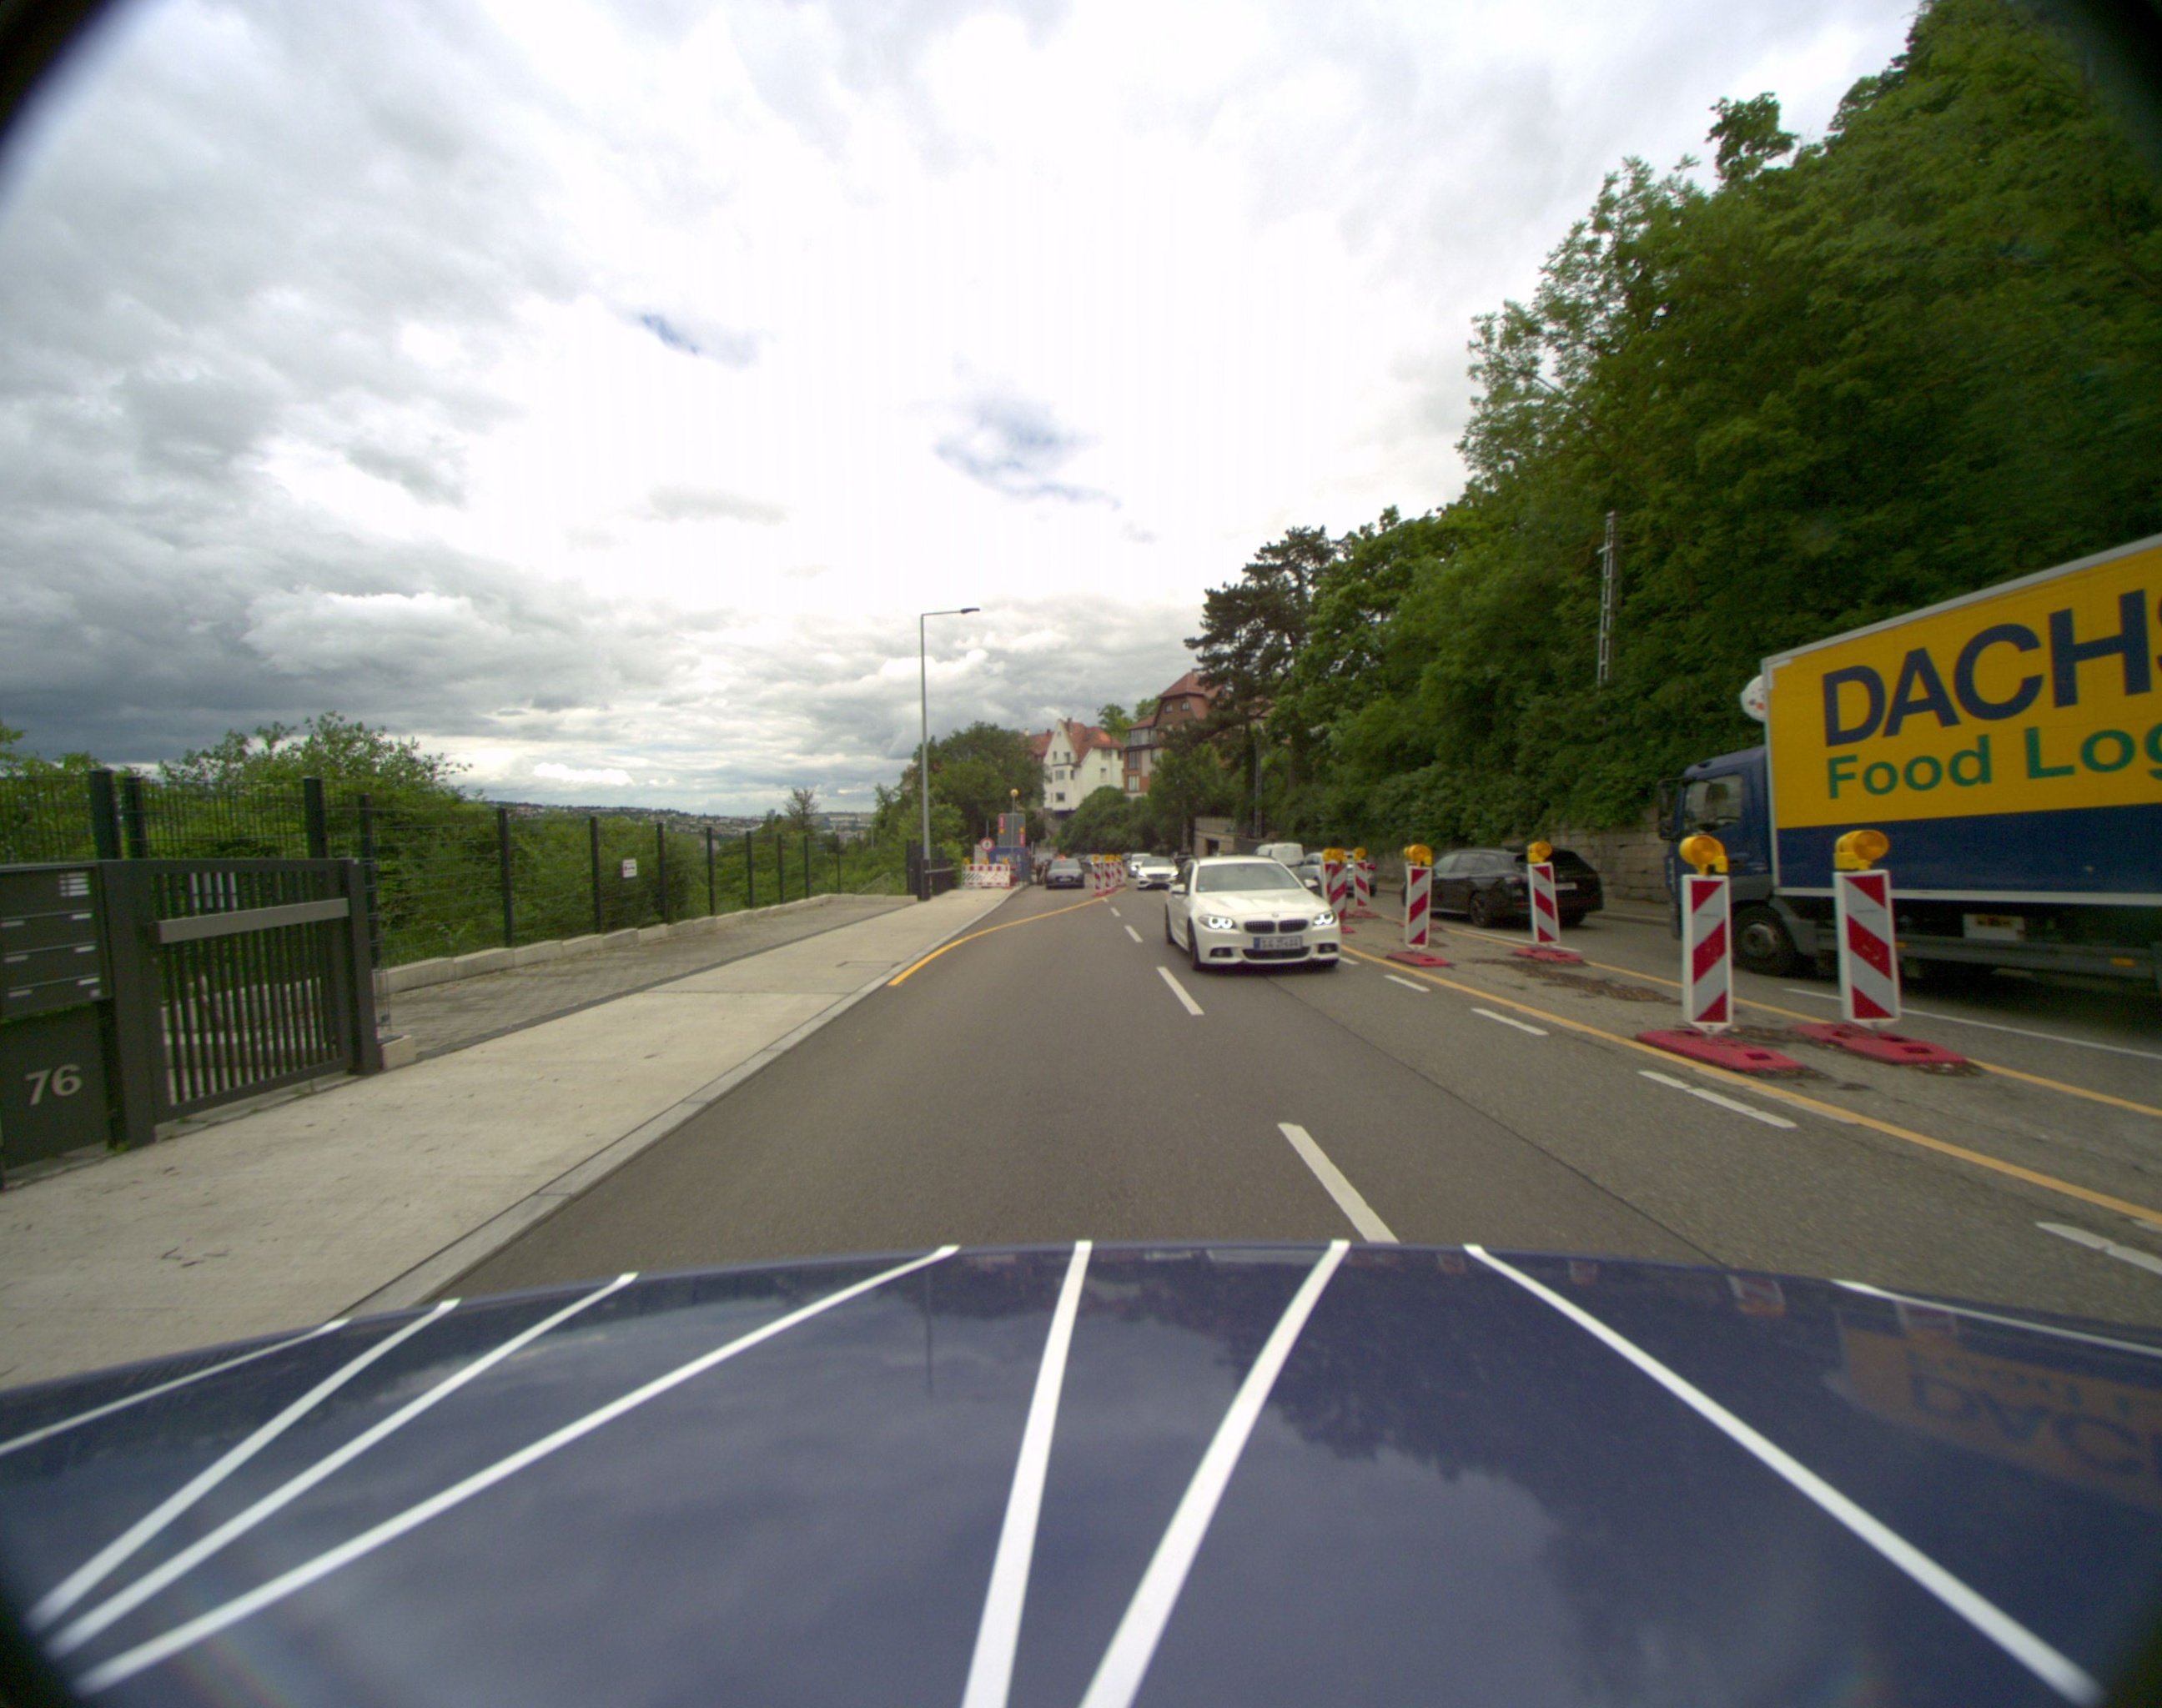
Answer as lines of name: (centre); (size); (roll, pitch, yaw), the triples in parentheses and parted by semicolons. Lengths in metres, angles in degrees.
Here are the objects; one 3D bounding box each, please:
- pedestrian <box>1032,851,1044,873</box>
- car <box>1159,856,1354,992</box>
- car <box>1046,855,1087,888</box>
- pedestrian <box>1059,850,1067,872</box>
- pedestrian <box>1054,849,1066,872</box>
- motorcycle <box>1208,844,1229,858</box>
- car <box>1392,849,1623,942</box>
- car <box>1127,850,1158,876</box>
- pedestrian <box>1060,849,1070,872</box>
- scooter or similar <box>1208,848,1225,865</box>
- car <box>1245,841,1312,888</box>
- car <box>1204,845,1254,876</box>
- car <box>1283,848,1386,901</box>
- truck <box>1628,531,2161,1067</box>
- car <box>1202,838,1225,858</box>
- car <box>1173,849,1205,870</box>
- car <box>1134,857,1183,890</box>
pedestrian: (-3.555, 0.675, 63.157); (0.647, 1.784, 0.642); (-5, 2, -26)
car: (2.318, 0.836, 11.404); (1.852, 1.458, 4.878); (-3, 1, 1)
car: (-0.651, 0.826, 37.332); (1.844, 1.447, 4.627); (-2, 0, 0)
pedestrian: (-1.470, 0.567, 62.121); (0.527, 1.832, 0.796); (1, 0, -12)
pedestrian: (-1.745, 0.555, 63.120); (0.620, 1.873, 0.717); (1, -2, -41)
motorcycle: (12.932, -0.263, 71.642); (1.843, 1.177, 0.636); (-3, 5, 3)
car: (7.999, 0.663, 14.879); (1.775, 1.433, 4.745); (-3, 1, -1)
car: (4.067, 0.588, 51.125); (1.885, 1.569, 4.000); (-3, 1, 3)
pedestrian: (-1.288, 0.502, 61.053); (0.640, 1.848, 0.834); (1, 0, -12)
scooter or similar: (10.271, 0.179, 57.512); (1.217, 1.225, 0.493); (-3, 1, -34)
car: (8.341, 0.402, 32.425); (1.807, 1.780, 4.342); (-3, 1, 2)
car: (8.291, 0.315, 42.883); (1.836, 1.583, 4.653); (-3, 1, 0)
car: (8.137, 0.589, 24.790); (1.796, 1.499, 4.311); (-3, 1, -1)
truck: (8.407, -0.393, 6.094); (2.738, 3.490, 7.349); (-1, 1, 0)
car: (12.841, -0.644, 73.816); (1.572, 1.596, 3.584); (-3, 5, -1)
car: (8.395, 0.377, 59.486); (1.833, 1.476, 4.317); (-3, 1, 0)
car: (3.340, 0.819, 33.528); (1.798, 1.299, 4.101); (-2, 0, 1)
